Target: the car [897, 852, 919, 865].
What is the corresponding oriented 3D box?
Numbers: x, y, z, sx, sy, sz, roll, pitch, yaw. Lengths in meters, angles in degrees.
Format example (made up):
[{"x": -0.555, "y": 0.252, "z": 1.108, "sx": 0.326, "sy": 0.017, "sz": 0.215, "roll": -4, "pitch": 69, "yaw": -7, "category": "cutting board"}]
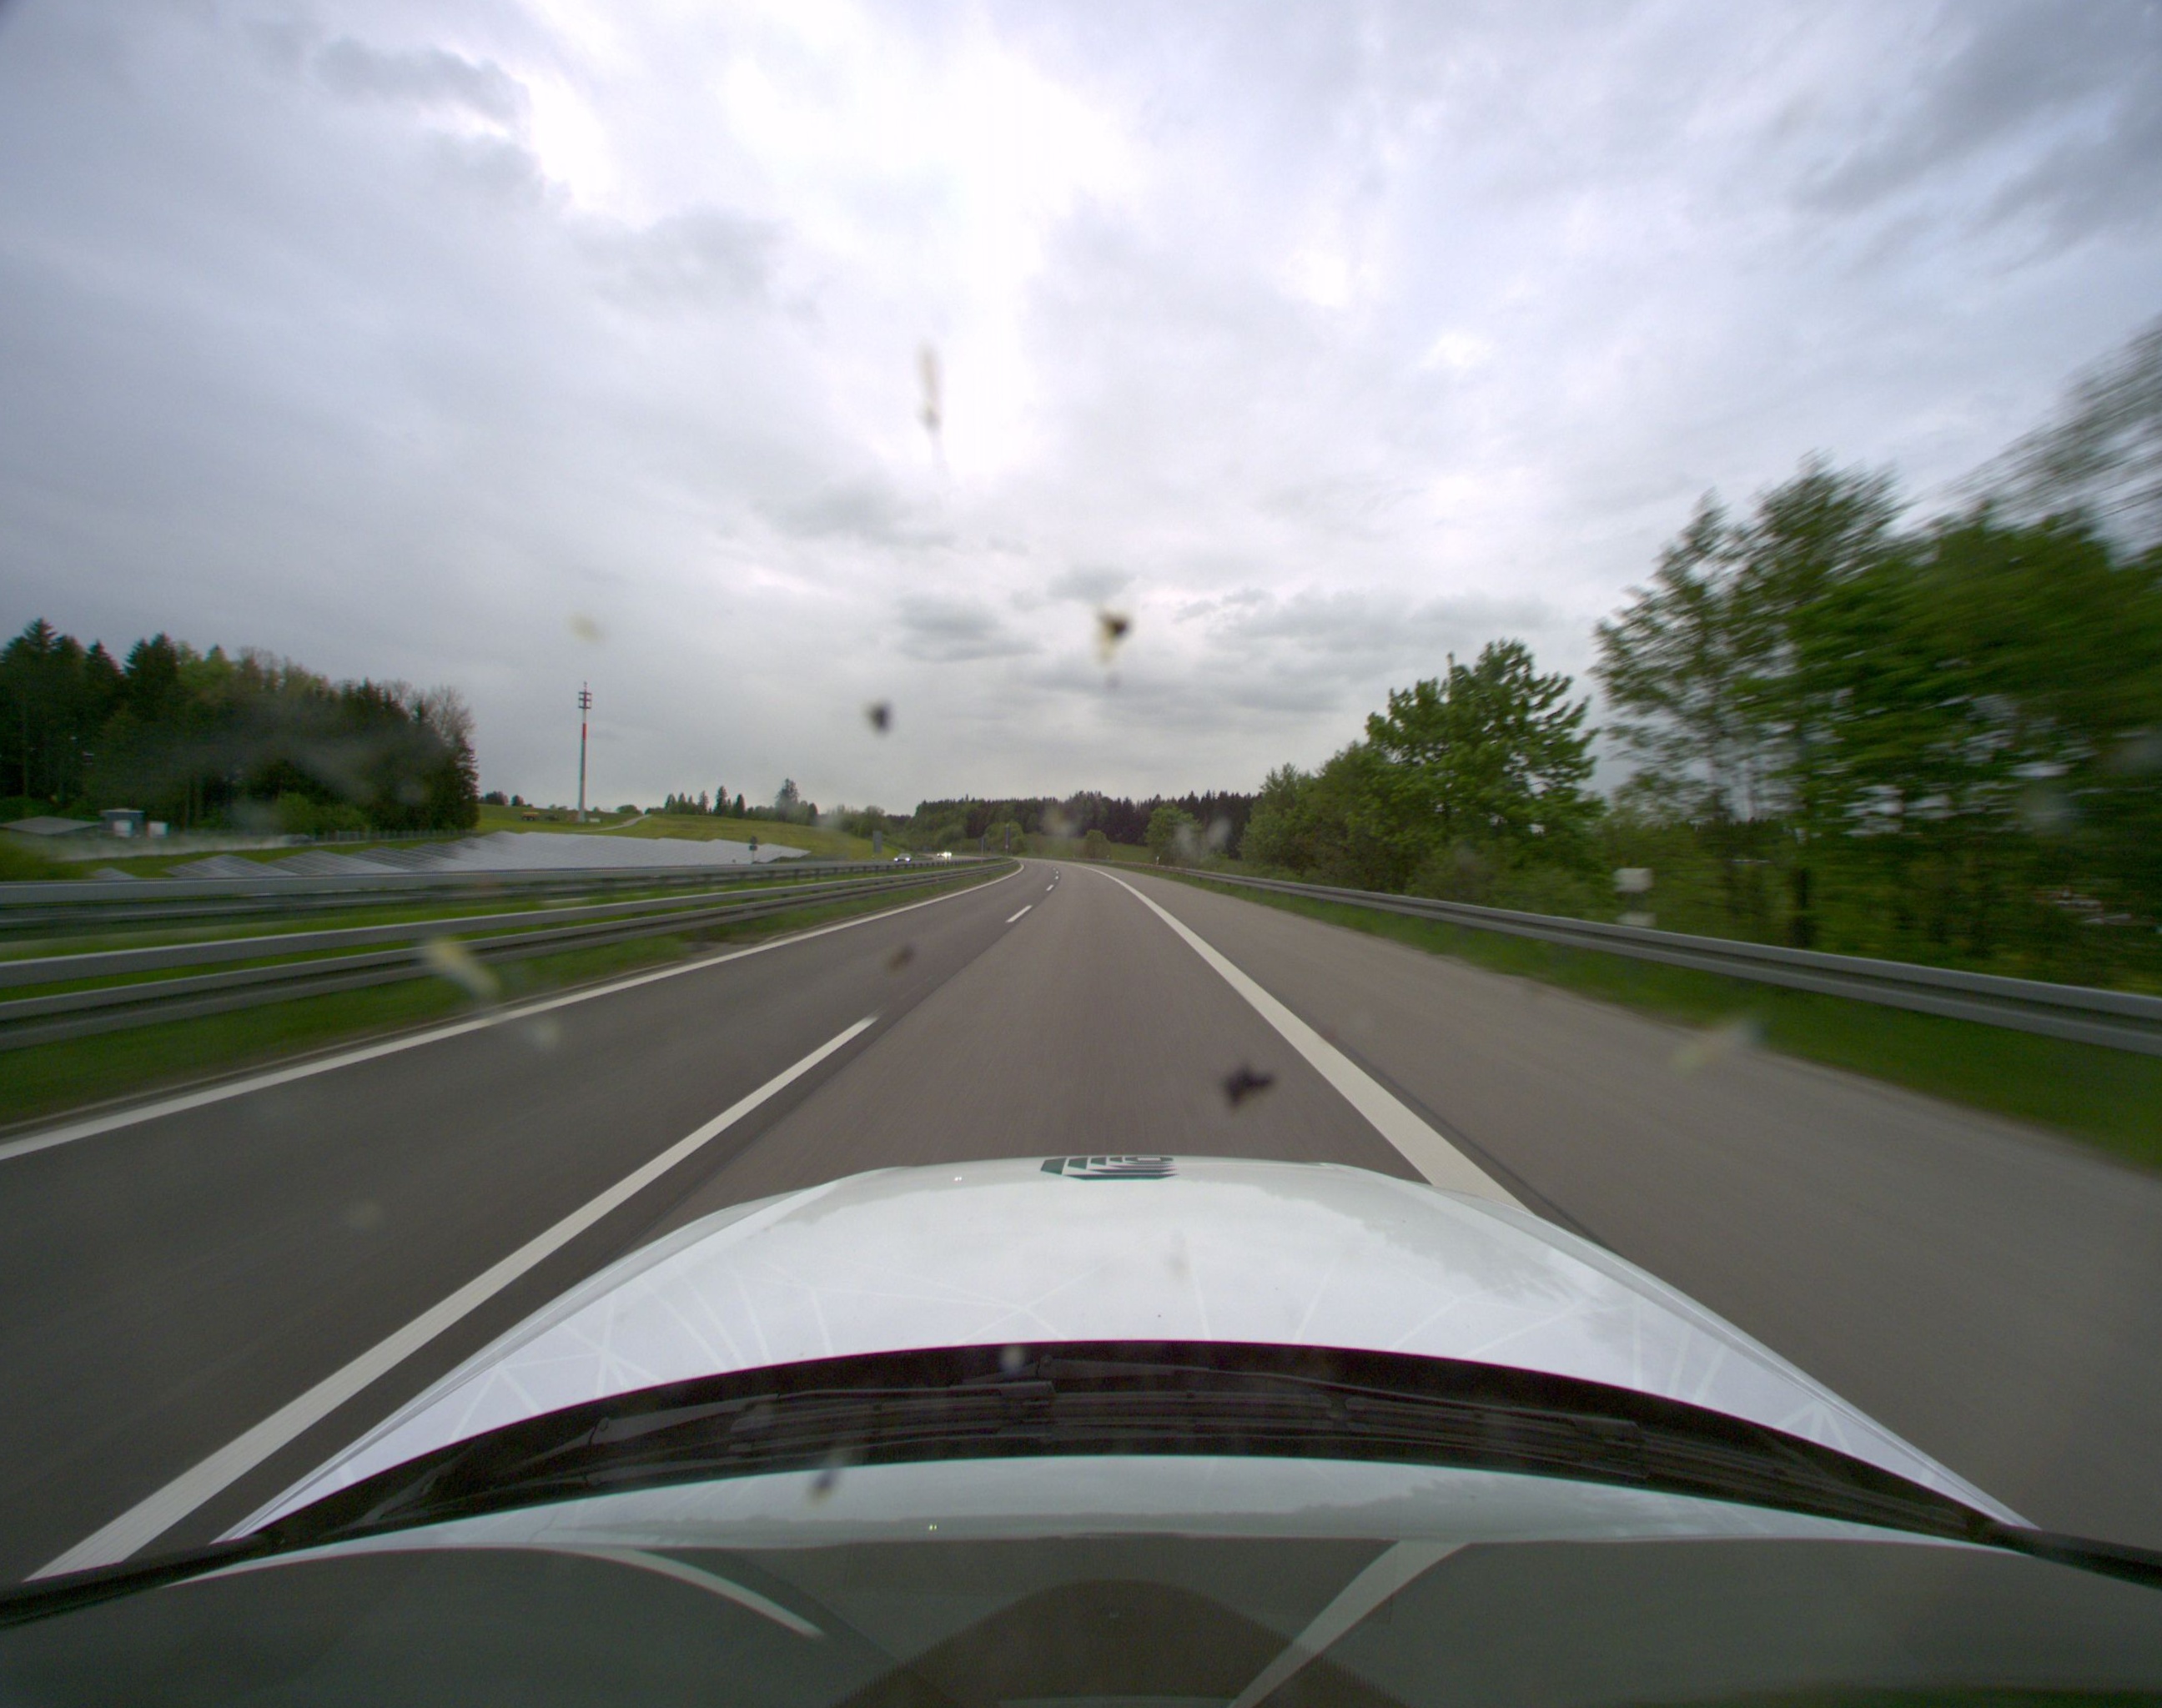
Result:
[{"x": -21.309, "y": 0.505, "z": 100.331, "sx": 1.989, "sy": 1.498, "sz": 4.147, "roll": 3, "pitch": 0, "yaw": -3, "category": "car"}]
